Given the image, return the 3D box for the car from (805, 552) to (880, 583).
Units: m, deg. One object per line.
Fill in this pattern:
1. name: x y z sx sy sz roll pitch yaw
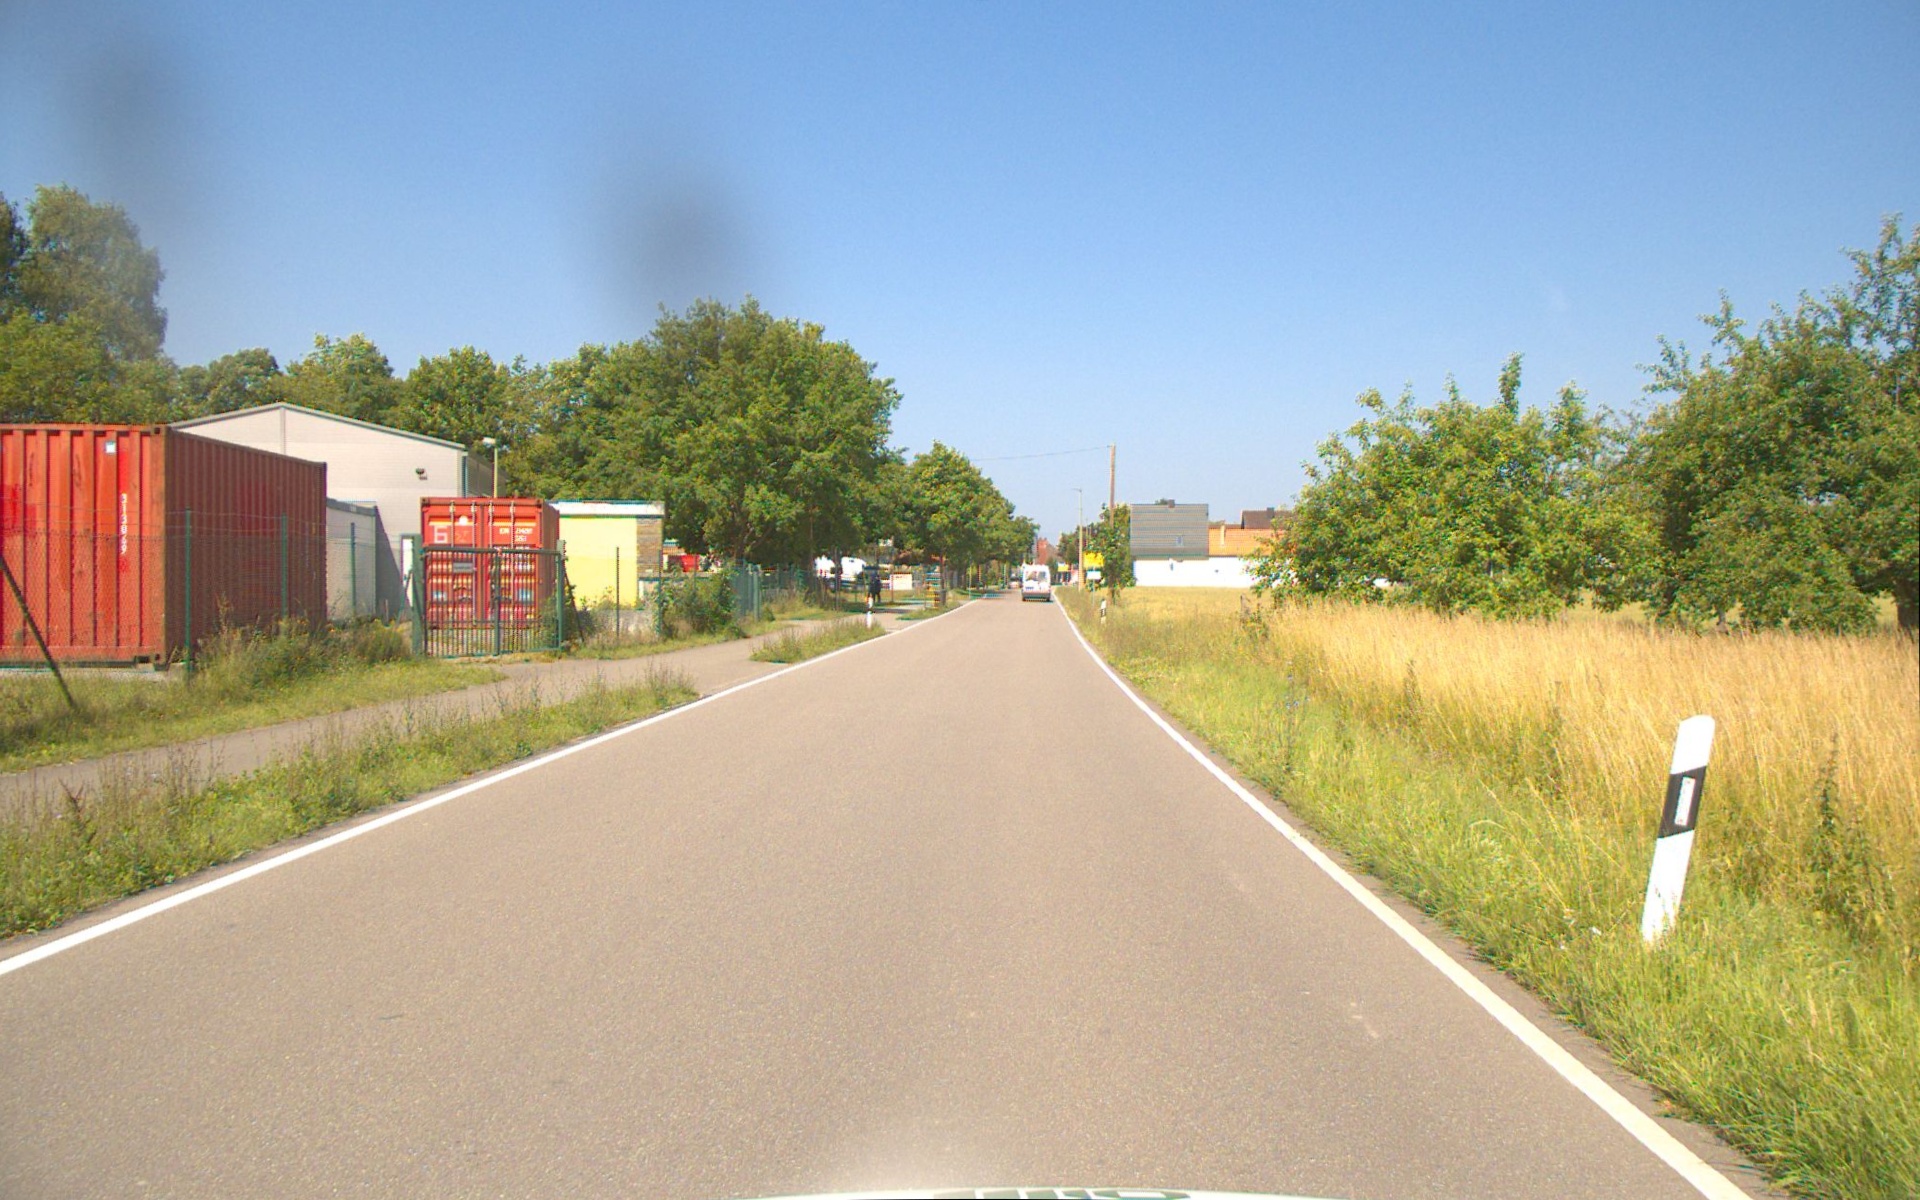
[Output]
1. car: -8.892 -2.435 125.331 5.551 2.305 1.974 -1 1 -37

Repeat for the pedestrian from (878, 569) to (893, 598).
1. pedestrian: -4.769 -1.055 105.670 0.706 1.834 0.709 0 1 28

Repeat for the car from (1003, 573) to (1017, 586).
1. car: 6.402 -2.604 210.005 1.734 1.618 4.002 0 1 3

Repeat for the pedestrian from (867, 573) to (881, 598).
1. pedestrian: -5.471 -0.928 105.105 0.663 1.593 0.718 0 1 27

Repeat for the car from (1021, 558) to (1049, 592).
1. car: 5.254 -1.731 115.884 1.952 2.305 4.728 0 1 3
